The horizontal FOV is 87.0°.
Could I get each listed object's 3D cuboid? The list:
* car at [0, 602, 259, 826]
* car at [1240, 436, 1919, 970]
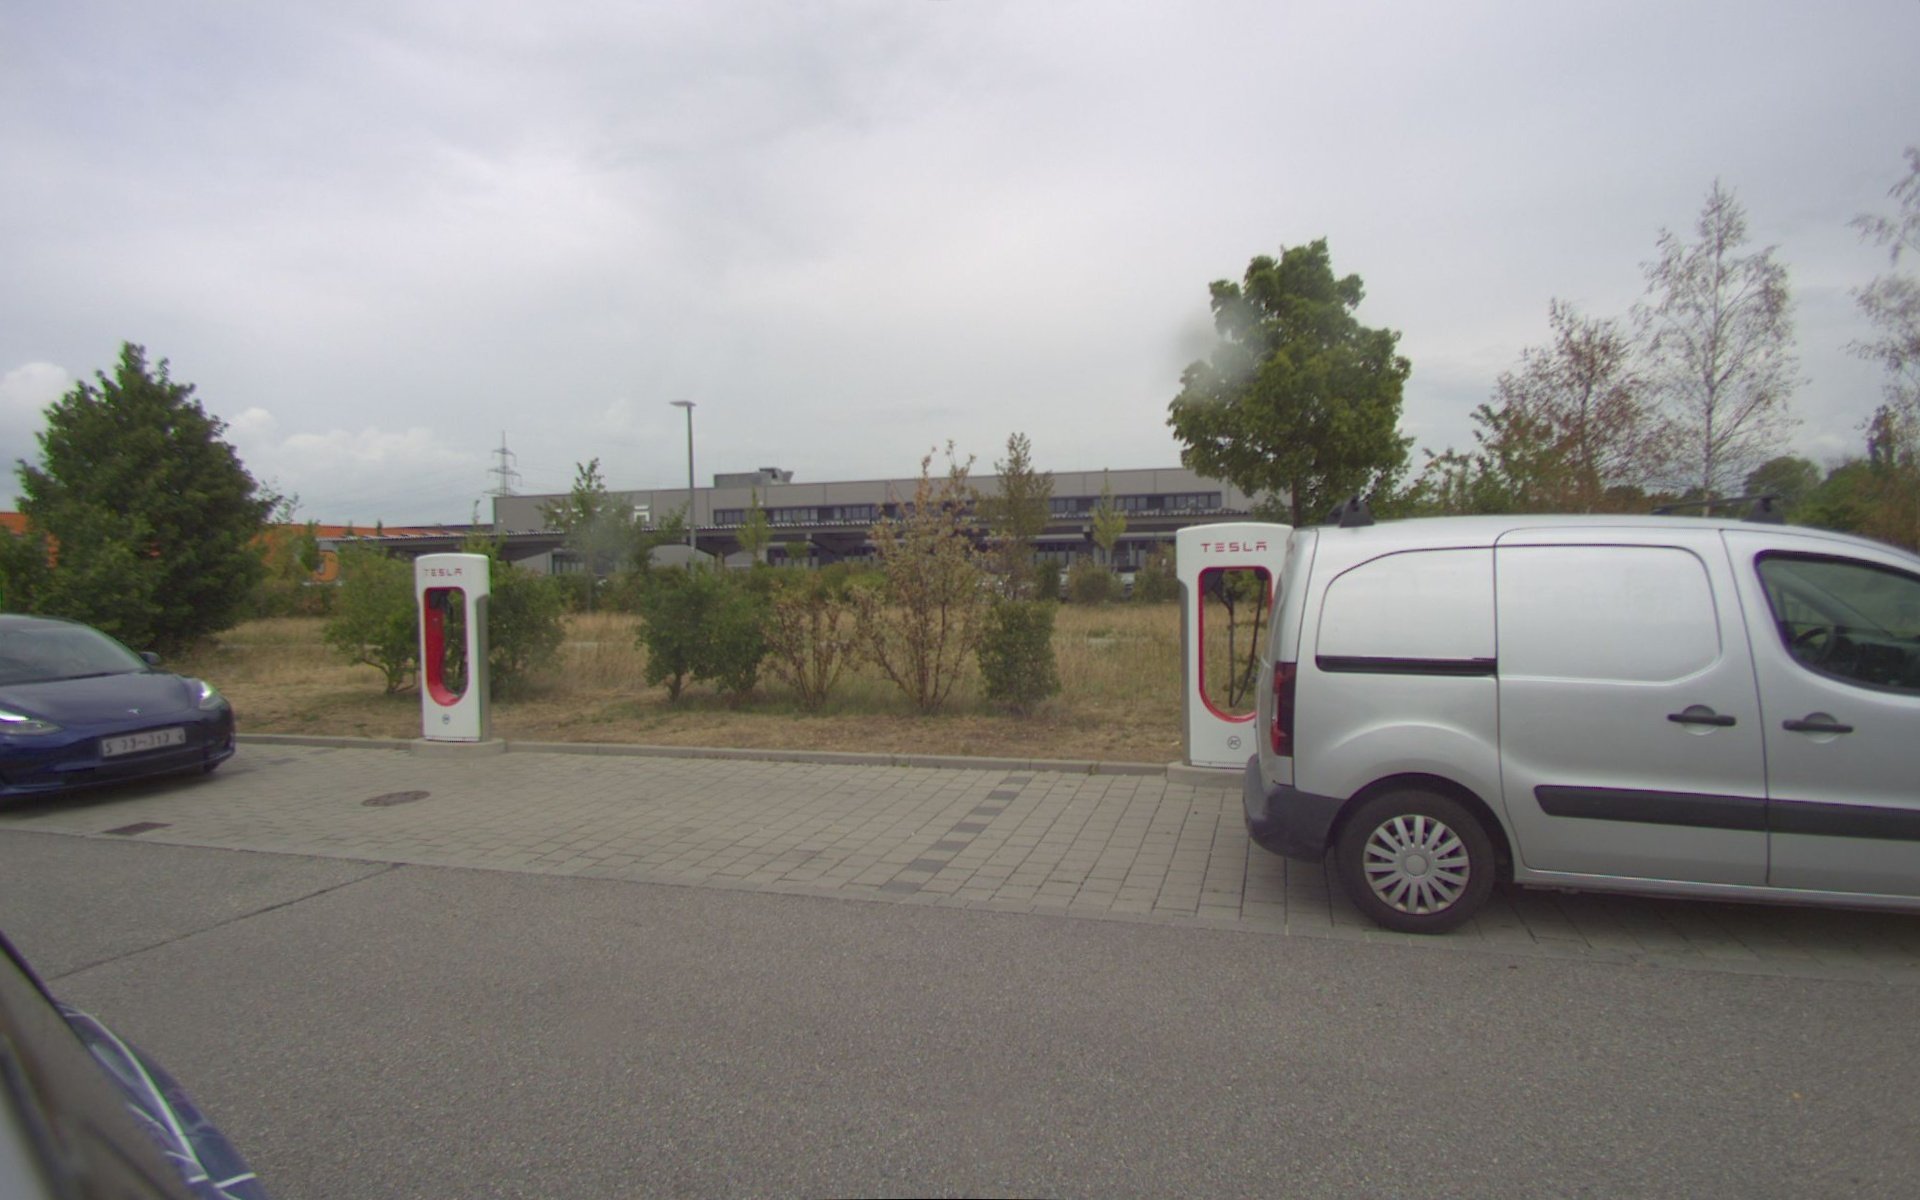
[{"bbox_3d":[-8.335,0.811,8.591,4.427,1.470,1.820,-1,2,23],"label":"car"},{"bbox_3d":[3.521,0.365,4.585,4.299,1.902,1.935,-1,0,17],"label":"car"}]
